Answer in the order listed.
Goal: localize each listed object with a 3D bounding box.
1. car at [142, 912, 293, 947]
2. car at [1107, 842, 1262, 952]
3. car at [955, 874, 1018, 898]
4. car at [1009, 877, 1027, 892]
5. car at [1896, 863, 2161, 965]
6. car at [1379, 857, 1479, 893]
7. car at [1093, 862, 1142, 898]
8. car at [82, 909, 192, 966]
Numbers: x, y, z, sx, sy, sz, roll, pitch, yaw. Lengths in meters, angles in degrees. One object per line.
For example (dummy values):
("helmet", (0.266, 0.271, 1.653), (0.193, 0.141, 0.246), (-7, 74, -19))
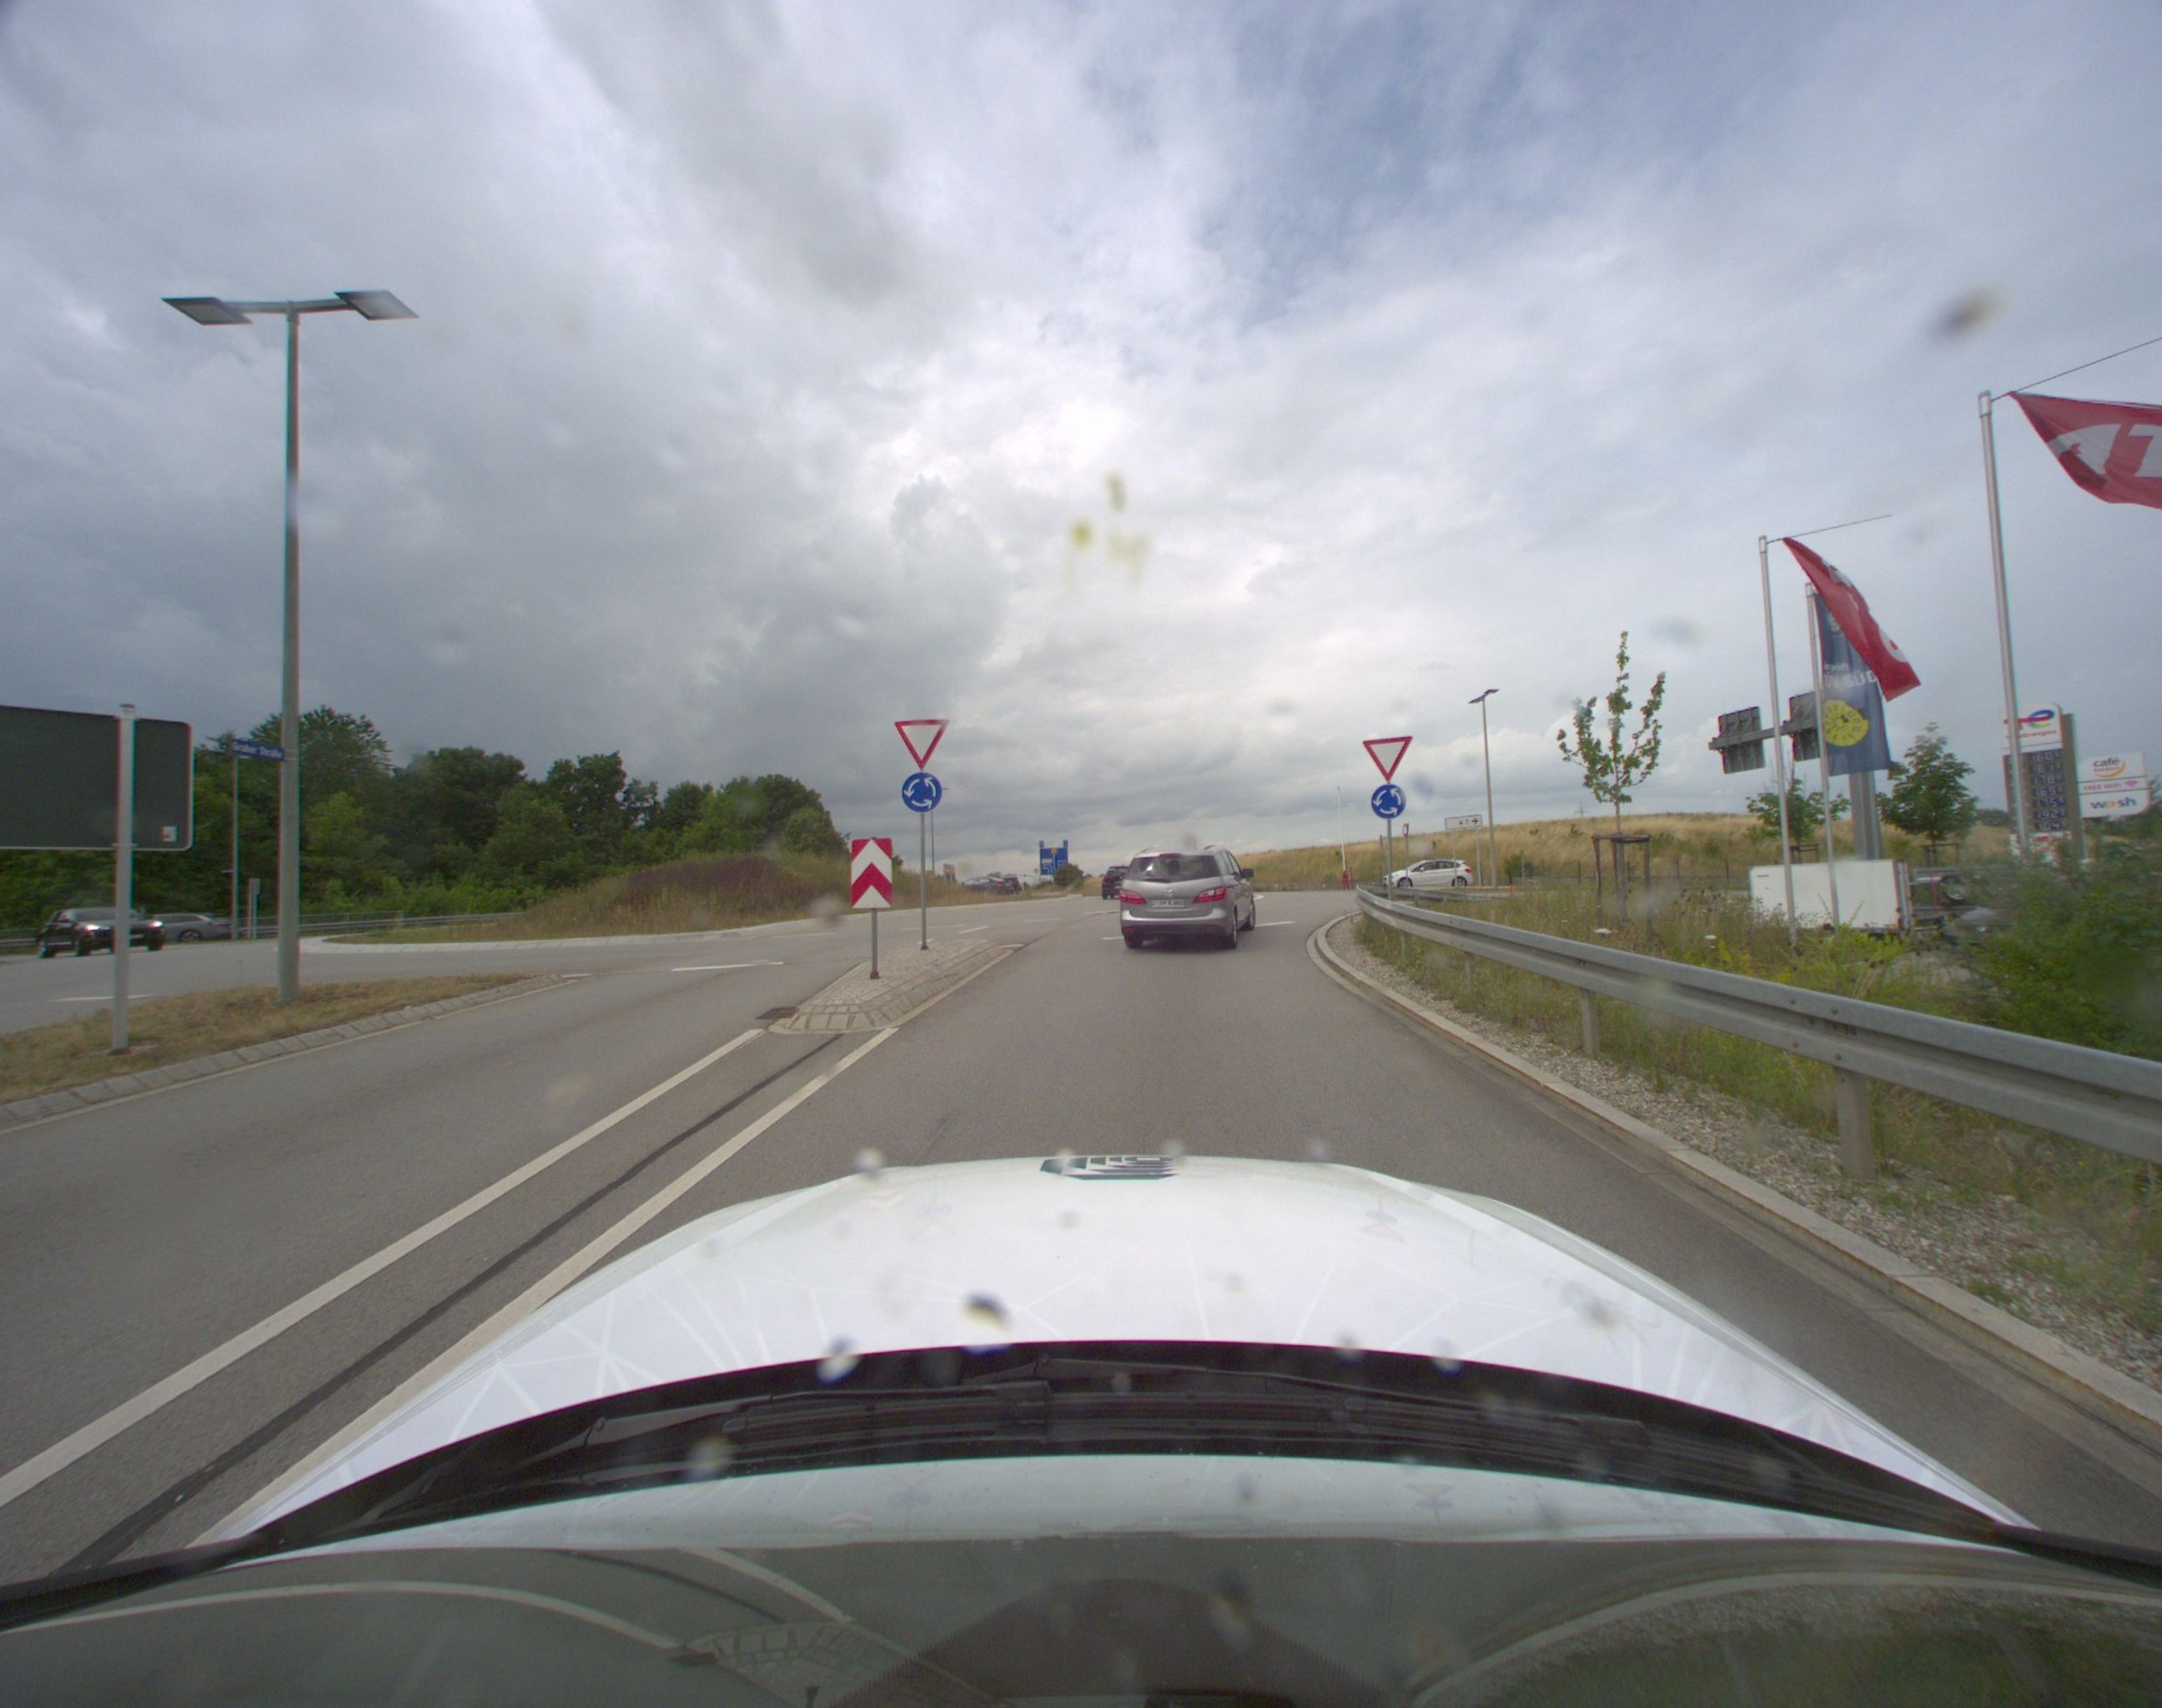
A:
("car", (-40.011, 3.473, 37.906), (4.490, 1.175, 1.618), (-3, -1, -30))
("car", (1.914, 0.639, 13.797), (1.896, 1.574, 4.018), (-2, 0, 17))
("car", (-5.860, 1.971, 50.266), (3.949, 1.339, 1.675), (-4, -2, 44))
("car", (-7.304, 3.499, 94.227), (1.598, 1.549, 4.032), (-3, -1, -10))
("car", (19.174, 1.116, 16.001), (4.818, 1.675, 1.959), (-2, -2, -9))
("car", (17.722, 1.080, 41.634), (4.387, 1.629, 1.789), (-2, -1, 8))
("car", (1.540, 1.113, 35.226), (1.658, 1.378, 3.995), (-3, -1, -3))
("car", (-34.625, 3.085, 29.852), (4.985, 1.791, 2.119), (-6, -4, 35))
